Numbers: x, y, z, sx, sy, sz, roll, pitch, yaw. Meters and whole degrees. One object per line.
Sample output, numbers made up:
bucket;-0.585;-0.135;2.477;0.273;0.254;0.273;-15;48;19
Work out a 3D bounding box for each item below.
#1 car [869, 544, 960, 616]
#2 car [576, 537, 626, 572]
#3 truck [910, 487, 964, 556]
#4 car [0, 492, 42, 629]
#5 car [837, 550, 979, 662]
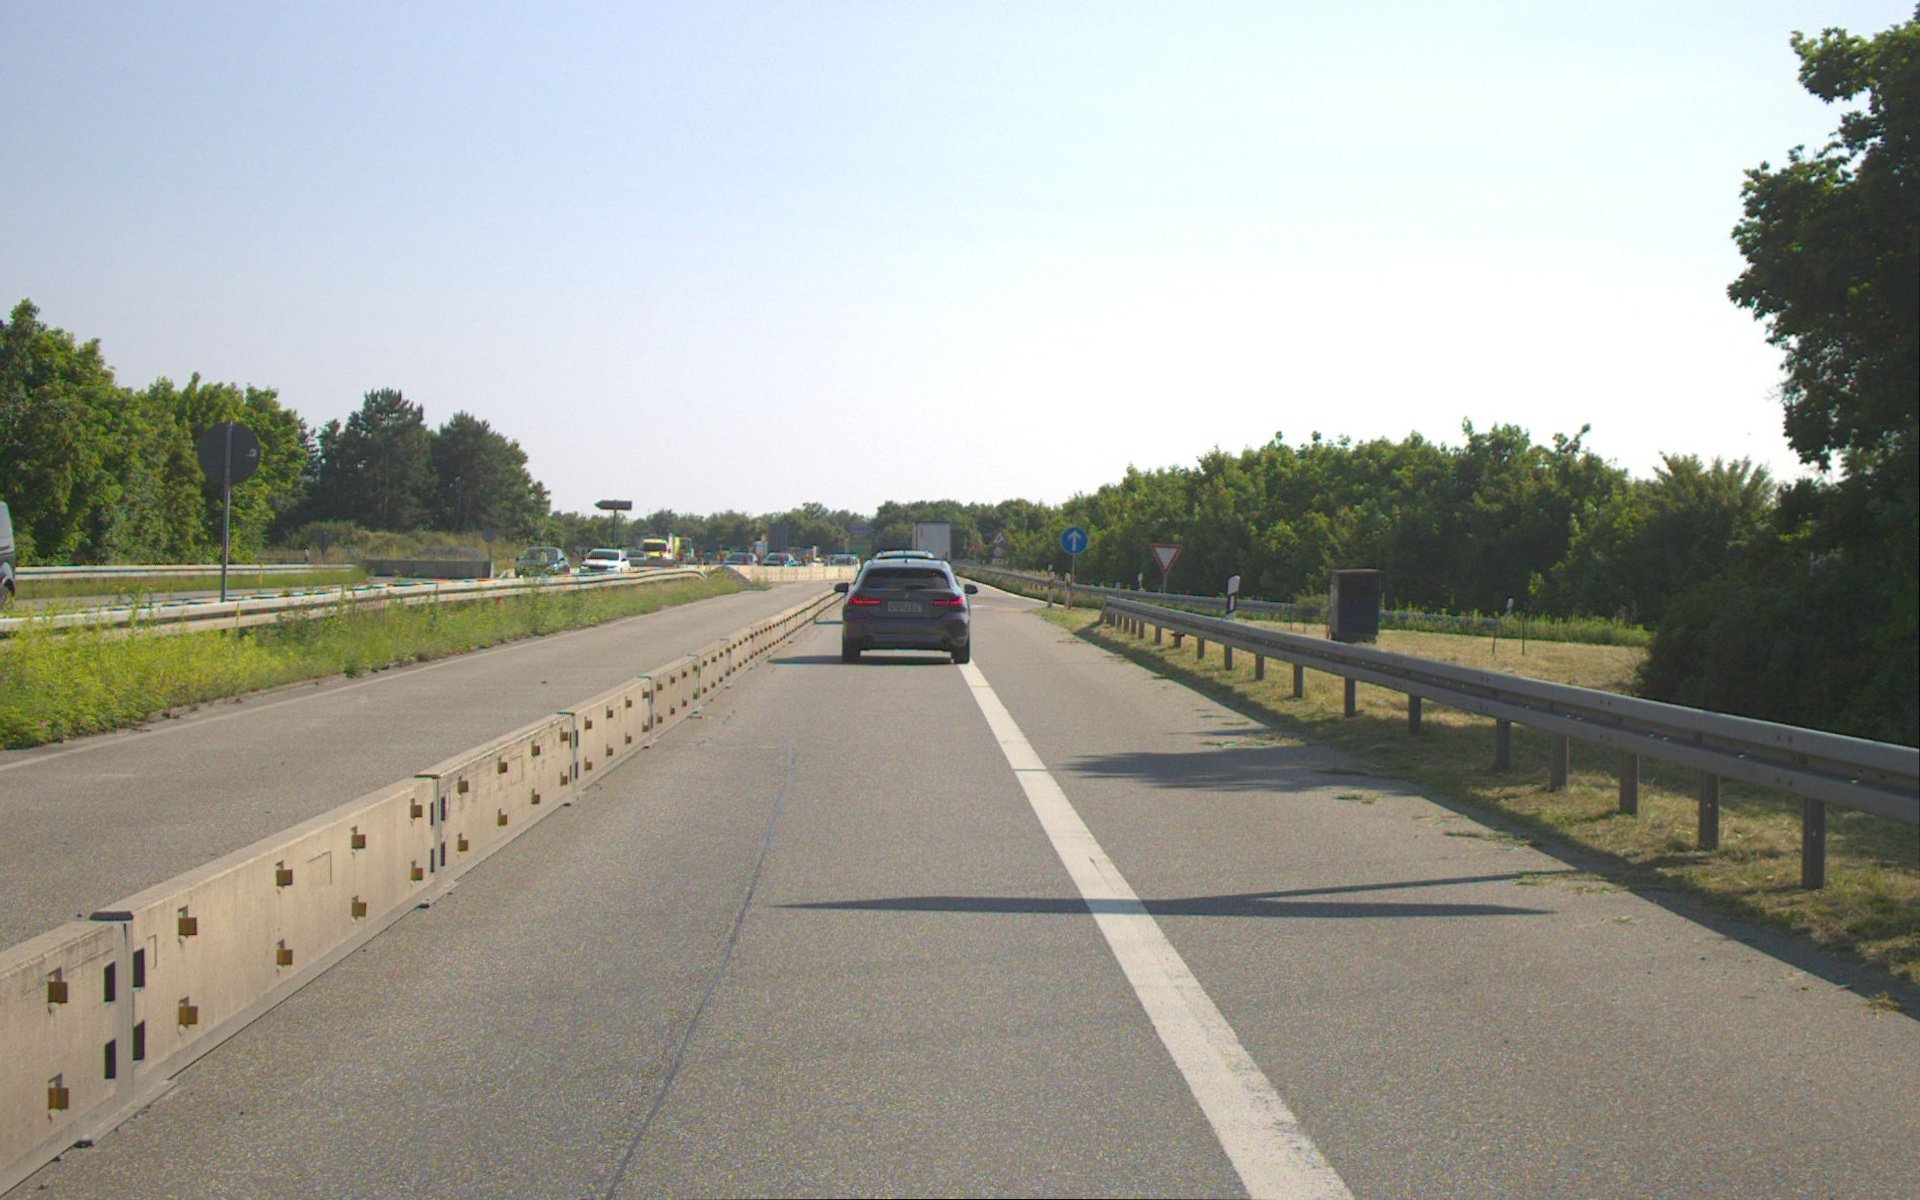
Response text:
car;-1.003;-0.479;77.457;1.993;1.561;4.000;0;1;0
car;-15.586;-1.986;149.505;1.759;1.465;4.795;2;1;-2
truck;-1.775;-5.829;256.550;3.761;4.894;14.138;1;1;-1
car;-15.195;-0.584;50.566;1.993;2.027;5.168;0;1;0
car;-0.775;0.047;48.847;1.920;1.488;4.001;0;1;-2
